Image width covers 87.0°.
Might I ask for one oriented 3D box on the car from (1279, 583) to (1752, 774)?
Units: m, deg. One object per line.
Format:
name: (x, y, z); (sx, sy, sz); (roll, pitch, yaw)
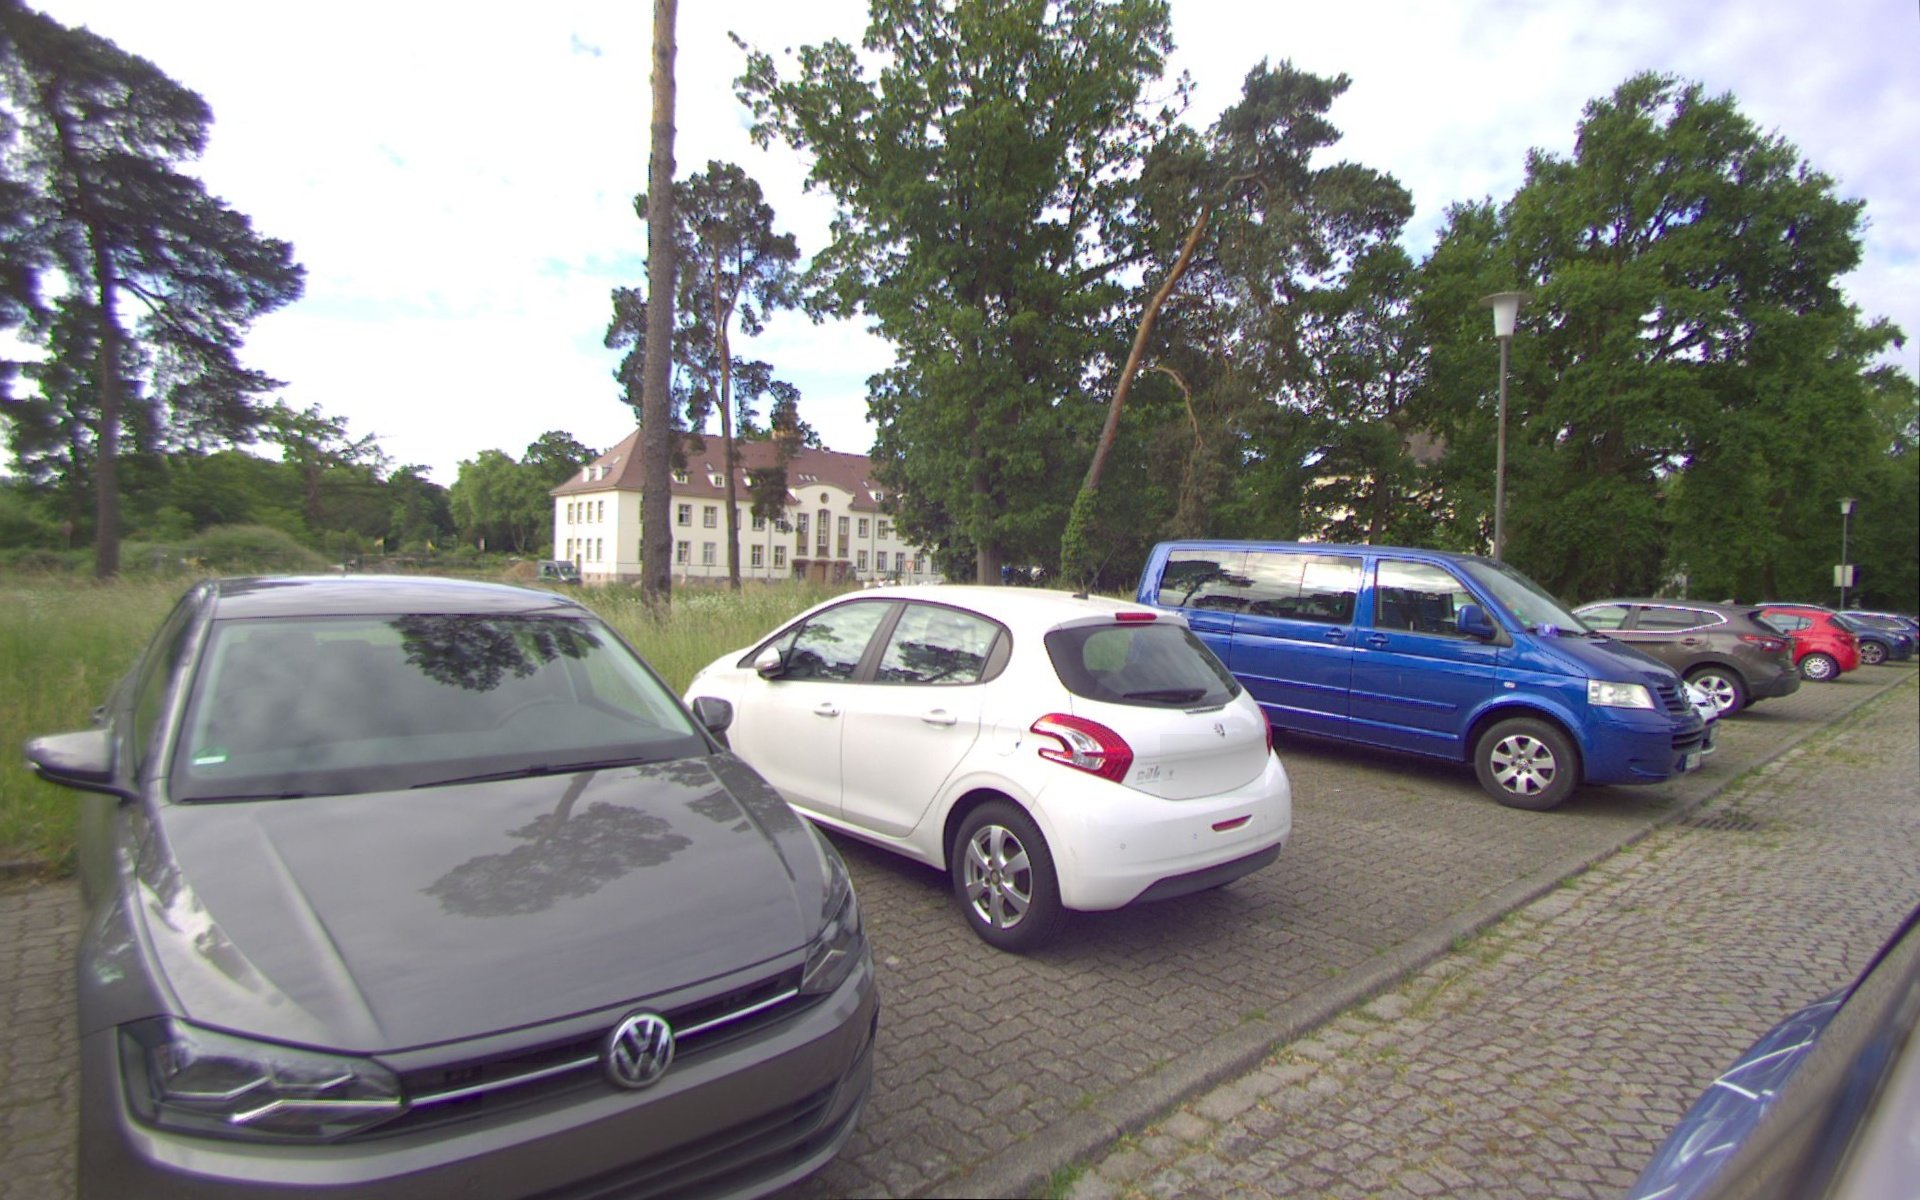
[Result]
car: (5.750, 0.658, 10.835); (4.100, 1.497, 1.694); (4, 3, 45)

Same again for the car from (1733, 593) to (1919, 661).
car: (25.018, 0.717, 29.047); (1.855, 1.642, 4.250); (1, 2, -44)

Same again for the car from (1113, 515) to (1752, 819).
car: (3.926, 0.328, 9.129); (1.934, 2.028, 4.801); (1, 2, -44)

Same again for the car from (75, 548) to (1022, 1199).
car: (-1.882, 0.613, 3.509); (1.735, 1.465, 4.138); (1, 2, -42)

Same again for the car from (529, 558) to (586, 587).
car: (-37.395, -2.519, 94.040); (5.645, 2.674, 2.249); (1, 0, 36)

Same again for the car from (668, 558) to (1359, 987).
car: (0.036, 0.583, 5.647); (1.735, 1.497, 3.659); (1, 2, -42)

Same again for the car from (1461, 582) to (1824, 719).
car: (10.157, 0.628, 15.279); (1.921, 1.614, 4.207); (1, 3, -44)

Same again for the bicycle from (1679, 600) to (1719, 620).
bicycle: (43.932, 0.592, 60.181); (1.835, 1.185, 0.485); (1, 0, 19)

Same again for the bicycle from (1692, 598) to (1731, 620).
bicycle: (45.865, 0.549, 61.740); (1.850, 1.184, 0.481); (4, 2, 38)

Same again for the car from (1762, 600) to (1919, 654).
car: (28.480, 0.830, 32.165); (1.892, 1.457, 4.367); (1, 2, -40)

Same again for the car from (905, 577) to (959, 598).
car: (-2.114, -0.977, 77.416); (4.009, 1.572, 1.652); (0, 0, -41)

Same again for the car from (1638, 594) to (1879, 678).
car: (17.482, 0.710, 22.280); (1.755, 1.515, 3.927); (1, 2, -44)

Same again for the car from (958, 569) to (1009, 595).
car: (2.223, -1.643, 94.739); (4.856, 2.332, 1.920); (1, 1, -43)
